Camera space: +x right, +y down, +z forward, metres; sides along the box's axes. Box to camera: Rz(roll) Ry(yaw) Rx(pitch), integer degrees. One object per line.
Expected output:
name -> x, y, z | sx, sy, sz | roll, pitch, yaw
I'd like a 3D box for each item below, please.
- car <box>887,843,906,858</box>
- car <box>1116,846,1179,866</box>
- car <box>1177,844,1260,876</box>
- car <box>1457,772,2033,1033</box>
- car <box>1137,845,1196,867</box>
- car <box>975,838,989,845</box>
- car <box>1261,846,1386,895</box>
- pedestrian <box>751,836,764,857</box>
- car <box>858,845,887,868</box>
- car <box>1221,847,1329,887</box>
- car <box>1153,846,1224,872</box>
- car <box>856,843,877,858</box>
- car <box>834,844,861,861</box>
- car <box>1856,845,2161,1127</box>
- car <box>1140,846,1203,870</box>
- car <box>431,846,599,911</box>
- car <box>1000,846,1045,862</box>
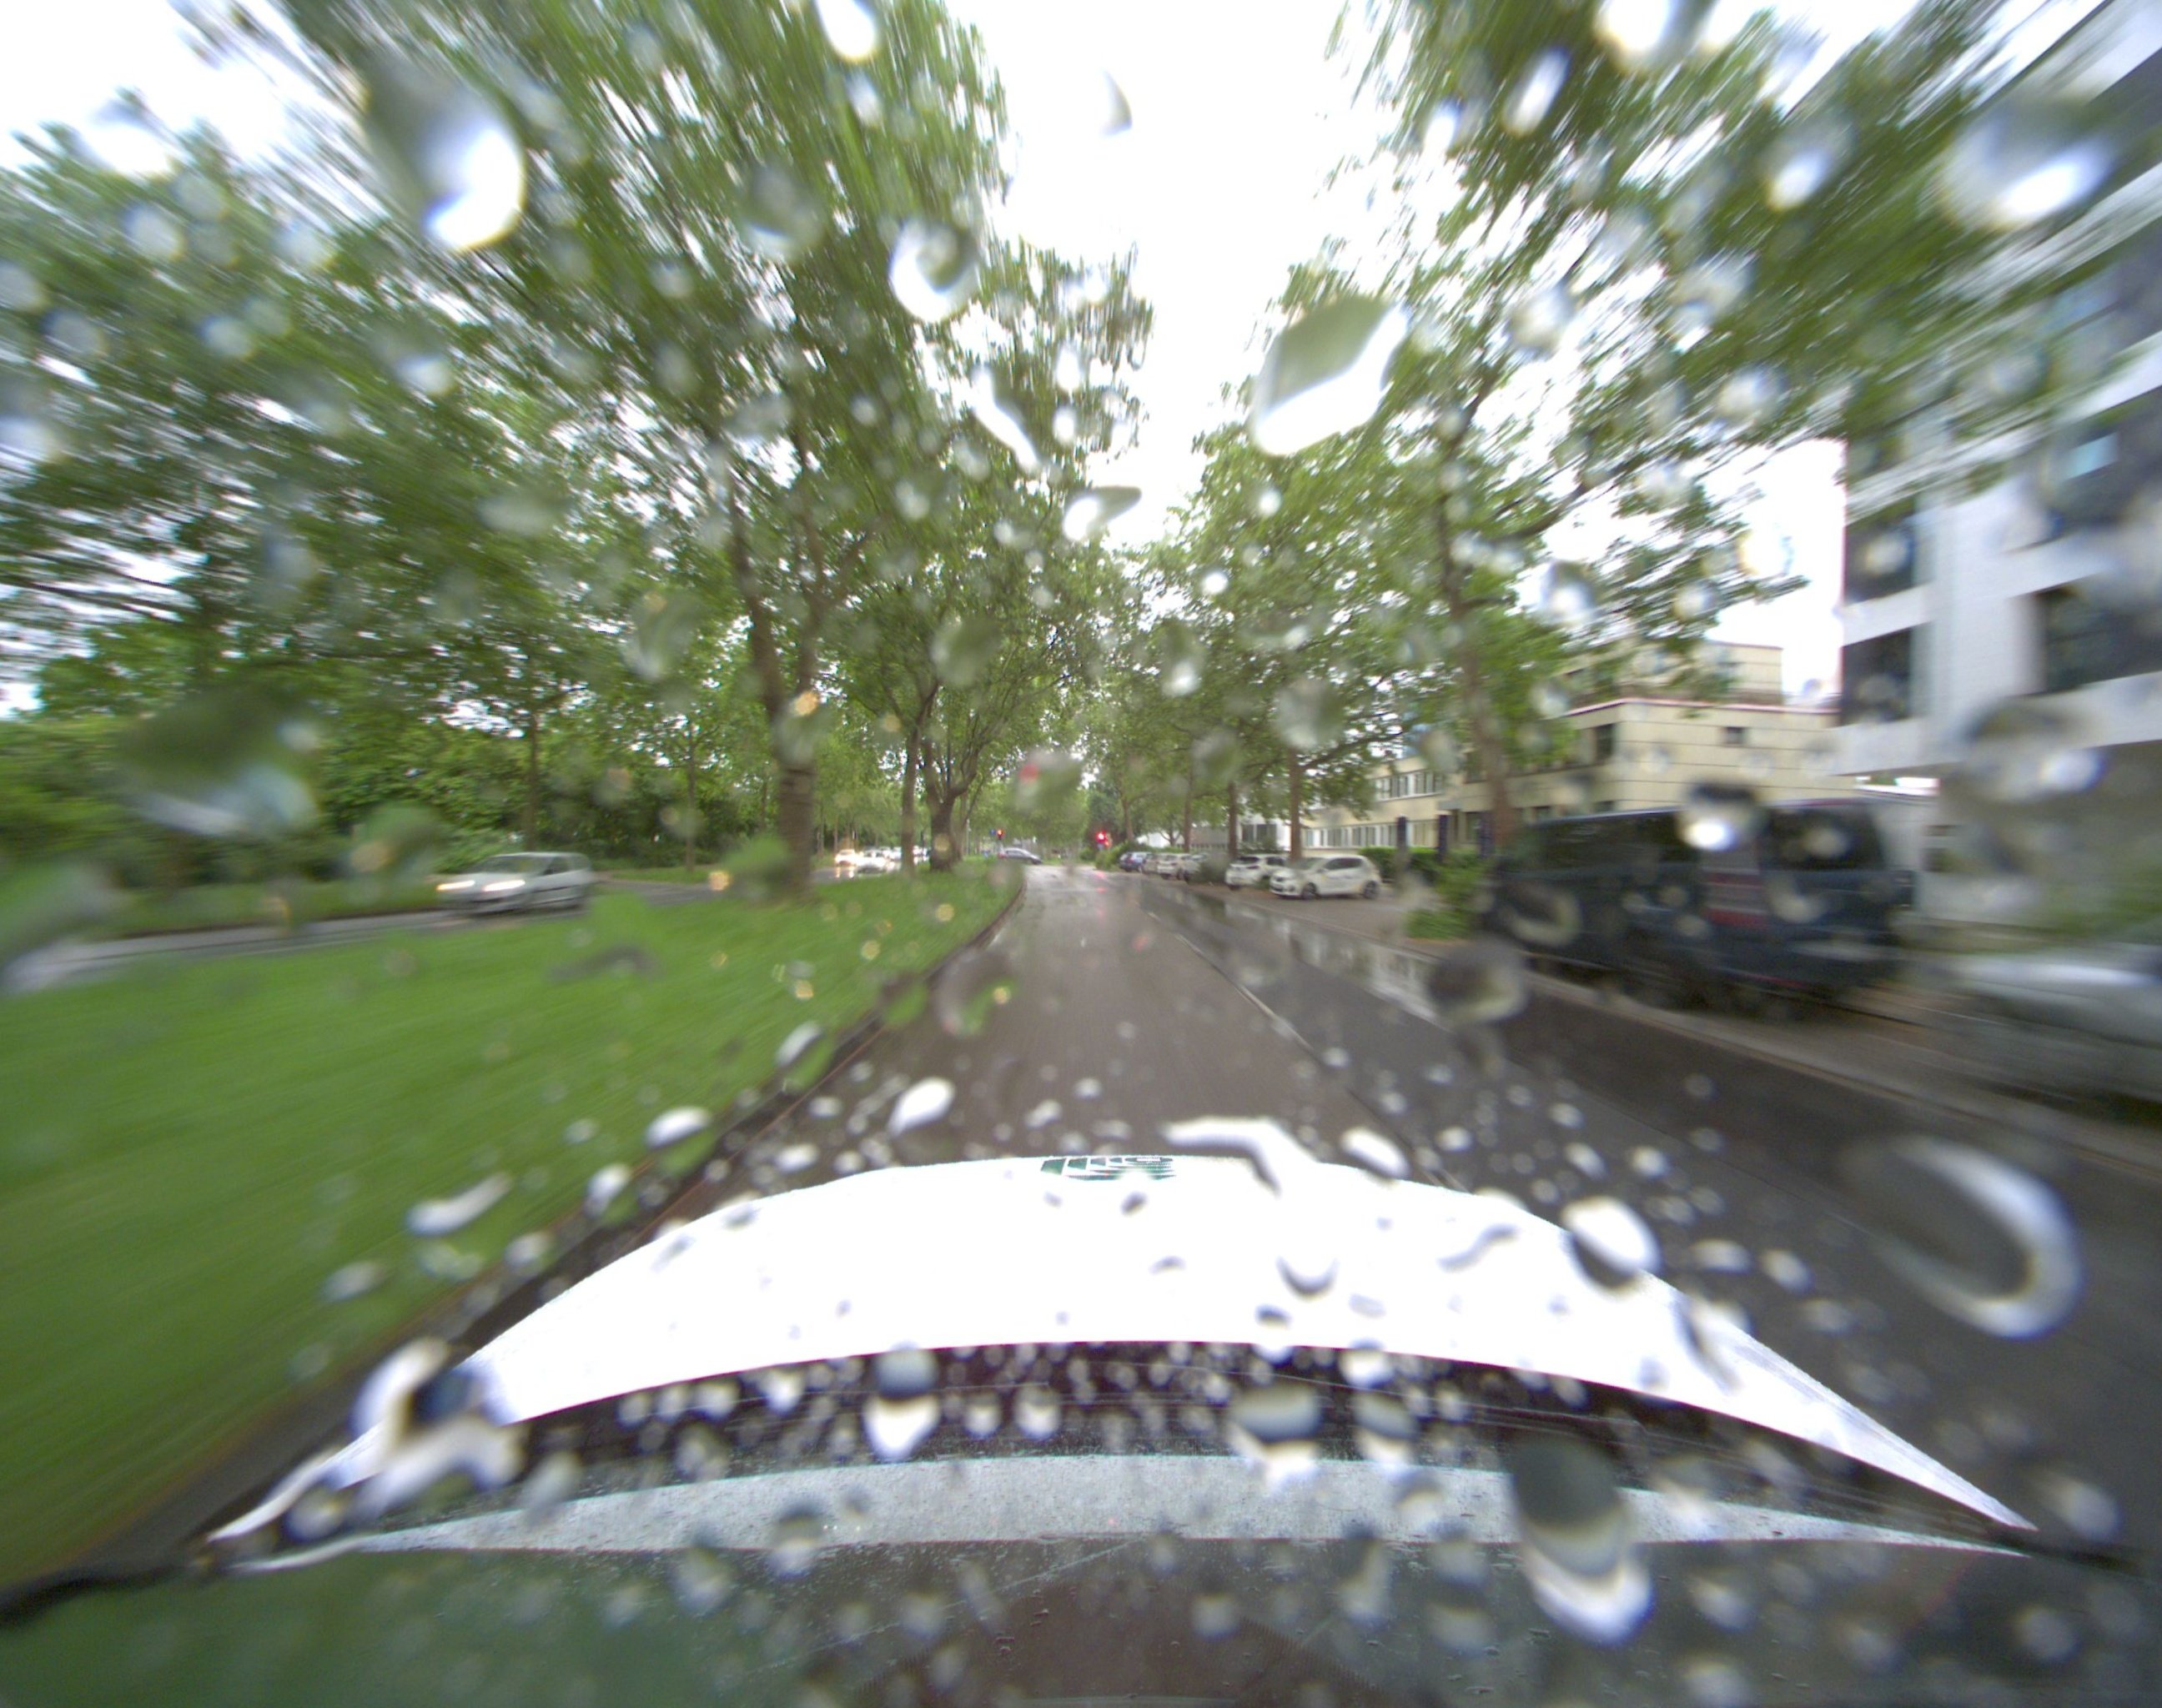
car -> -20.574, -0.428, 90.871 | 1.743, 1.591, 4.317 | 1, 1, -9
car -> 4.956, 0.140, 60.535 | 4.510, 1.458, 1.732 | 0, 1, -30
car -> 6.930, 0.275, 40.823 | 4.055, 1.539, 1.730 | 0, 1, -36
car -> 6.509, 0.344, 9.191 | 2.113, 2.028, 5.530 | 1, 1, 2
car -> 5.763, 0.157, 54.786 | 3.707, 1.416, 1.731 | 0, 1, -34
car -> -30.471, -3.835, 250.297 | 3.996, 2.014, 1.988 | 1, -1, -17
car -> 8.054, 0.498, 27.134 | 3.644, 1.504, 1.739 | 0, 2, -18
pedestrian -> -26.686, -0.603, 67.172 | 0.830, 1.673, 0.897 | 1, 1, -9
car -> -14.830, 0.151, 58.136 | 1.744, 1.476, 4.394 | 1, 1, -11
car -> 7.476, 0.454, 31.290 | 4.054, 1.428, 1.731 | 0, 1, -34
car -> 6.071, 0.275, 45.969 | 3.704, 1.416, 1.732 | 0, 1, -30
car -> -24.036, -0.371, 91.532 | 1.742, 1.591, 4.199 | 1, 1, -7
car -> -20.985, -0.175, 73.384 | 1.742, 1.476, 4.071 | 1, 1, -8
car -> 6.515, 0.710, 3.827 | 1.737, 1.469, 4.308 | 1, 1, 2
car -> 5.723, 0.258, 51.501 | 3.707, 1.416, 1.757 | 0, 1, -34
car -> -14.250, 0.552, 20.794 | 1.740, 1.459, 3.837 | 1, 1, -3
car -> -6.036, -0.011, 83.829 | 4.262, 1.650, 1.755 | 1, 1, 13
